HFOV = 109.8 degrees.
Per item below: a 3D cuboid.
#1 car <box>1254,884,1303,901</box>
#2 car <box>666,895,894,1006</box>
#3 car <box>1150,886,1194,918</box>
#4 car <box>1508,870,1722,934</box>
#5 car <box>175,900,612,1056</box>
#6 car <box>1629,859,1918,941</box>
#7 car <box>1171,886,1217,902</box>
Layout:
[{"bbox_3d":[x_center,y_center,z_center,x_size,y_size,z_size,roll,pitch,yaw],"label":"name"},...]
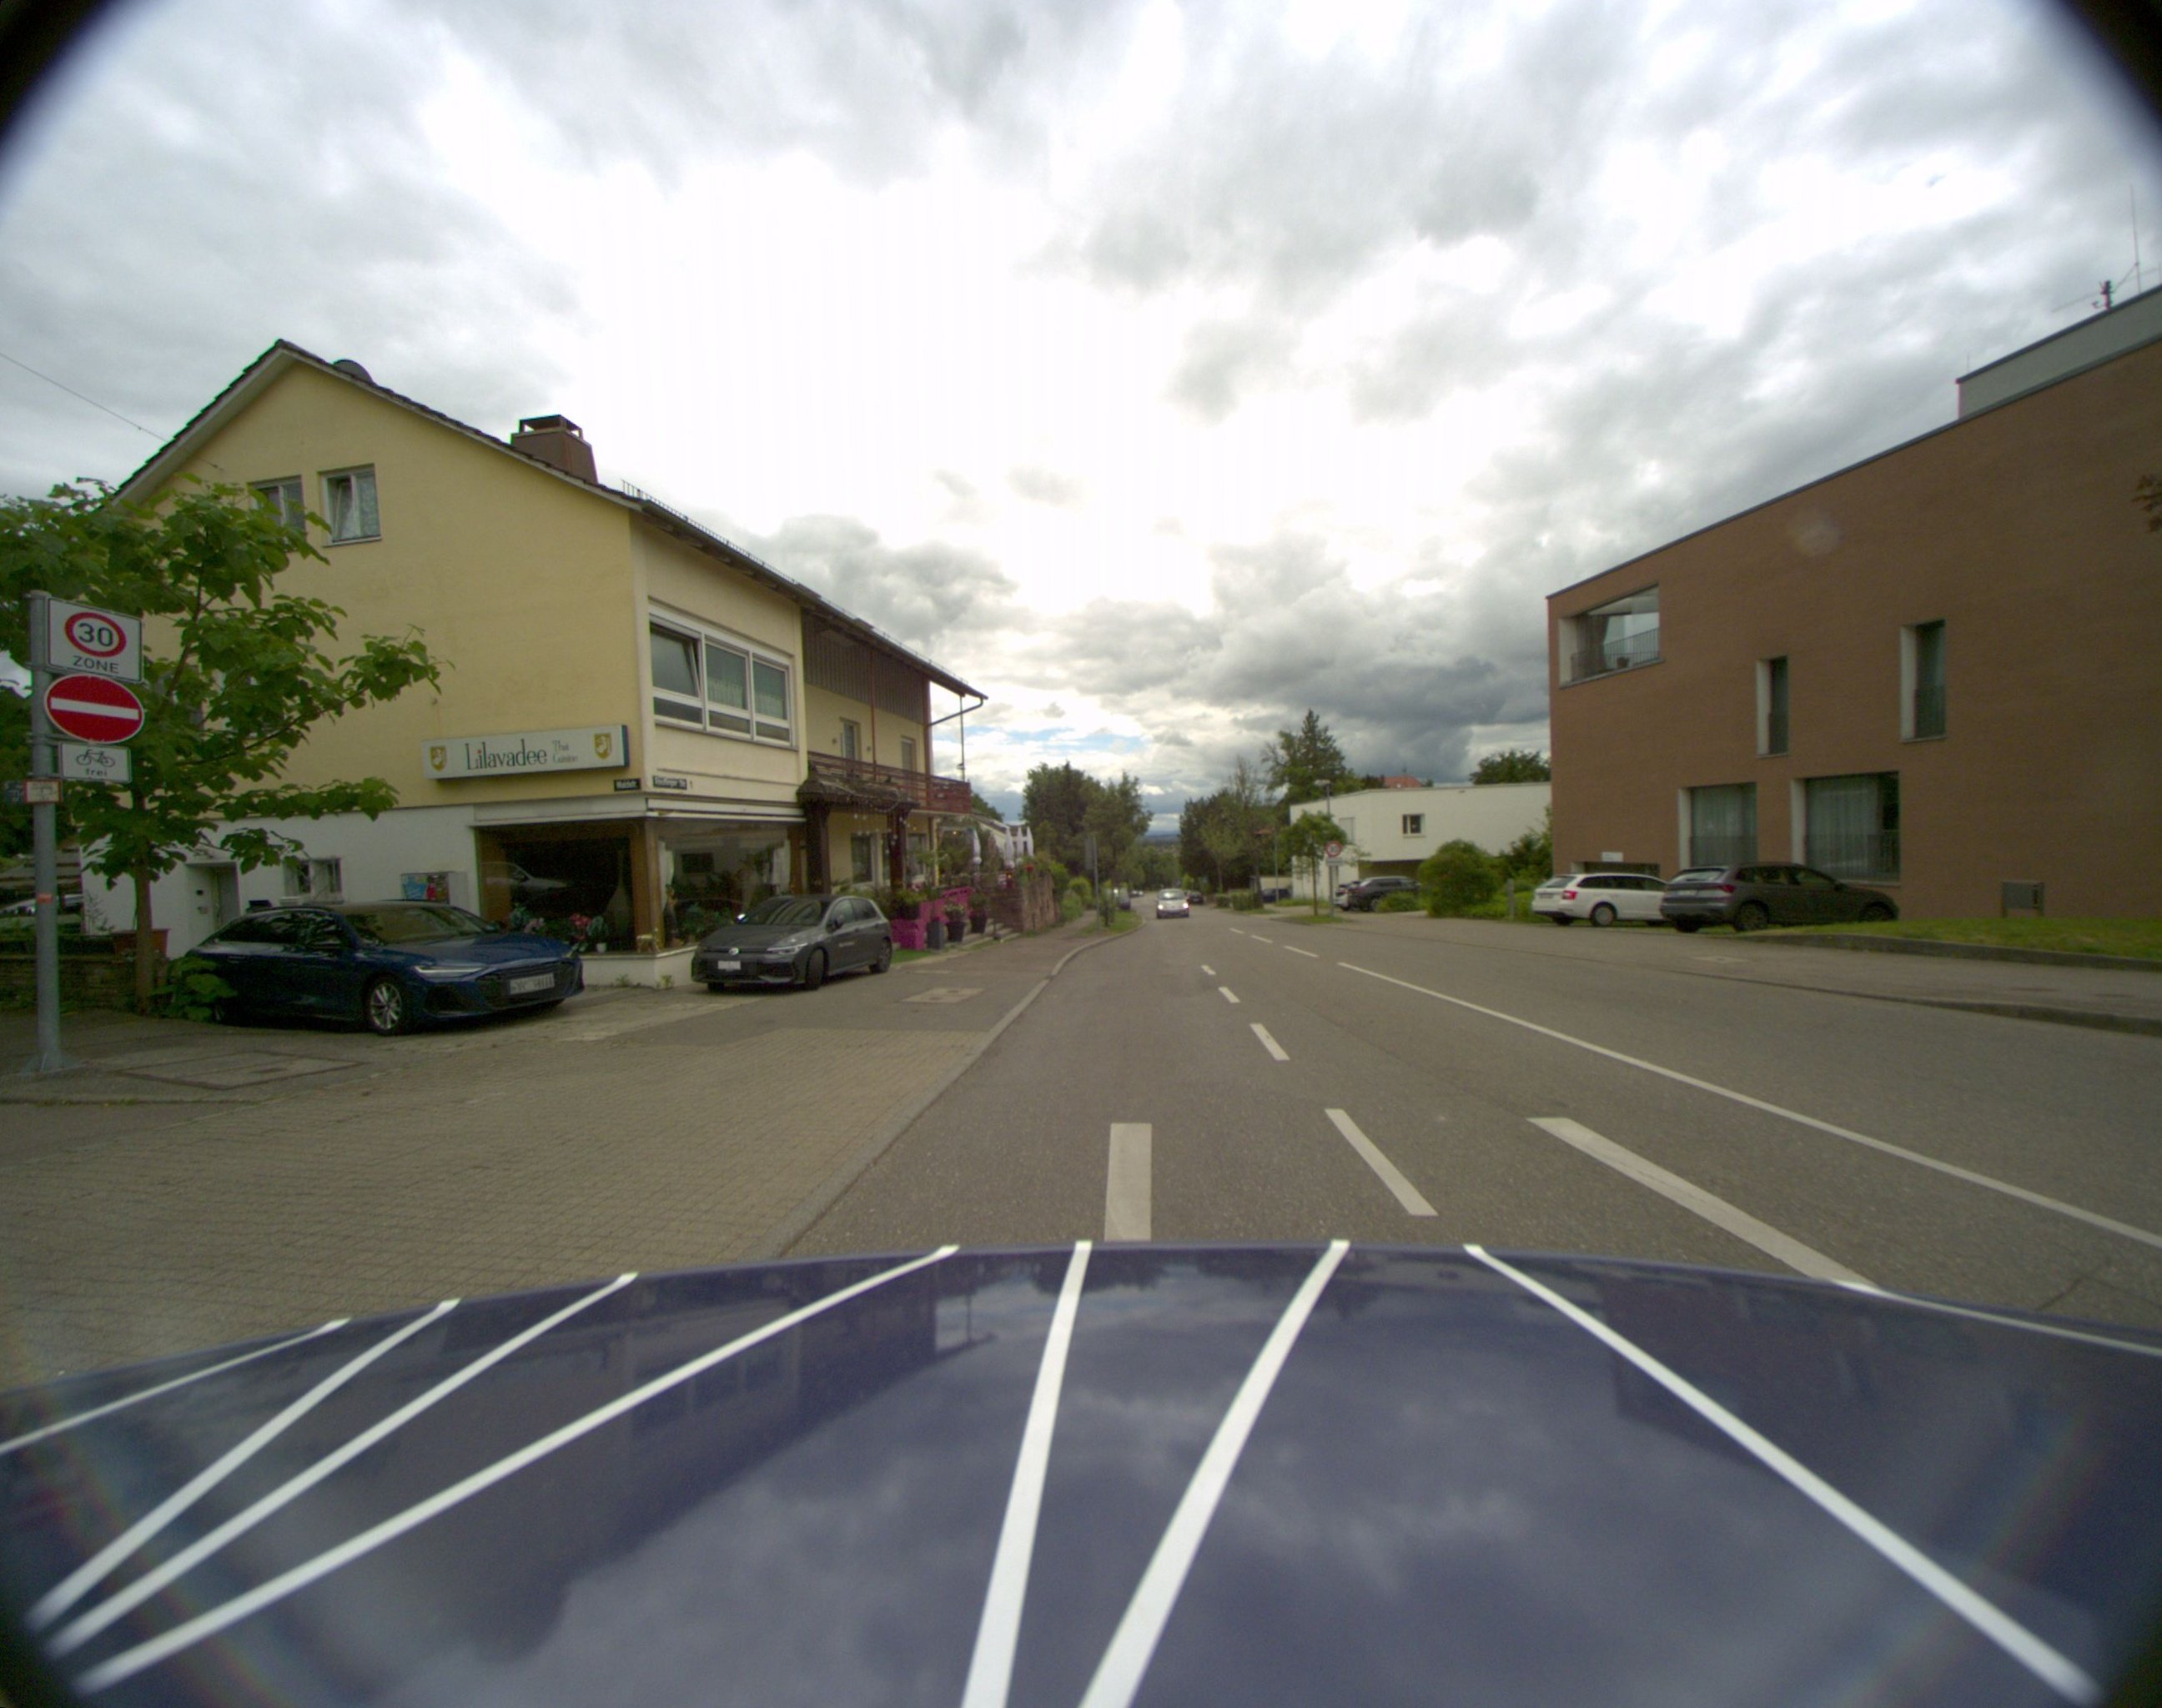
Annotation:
[{"bbox_3d":[19.961,3.894,76.948,4.434,1.548,2.000,-1,-1,-1],"label":"car"},{"bbox_3d":[-4.692,1.457,12.510,1.873,1.483,3.887,-2,-3,6],"label":"car"},{"bbox_3d":[5.004,2.671,42.221,1.998,1.585,4.003,-3,-3,2],"label":"car"},{"bbox_3d":[14.451,1.258,20.738,4.434,1.548,2.000,-1,-1,-1],"label":"car"},{"bbox_3d":[-8.192,1.367,9.171,4.220,1.519,1.935,-2,-2,16],"label":"car"},{"bbox_3d":[14.772,0.954,16.405,4.434,1.548,2.000,-1,-1,-1],"label":"car"},{"bbox_3d":[11.688,4.134,78.583,4.434,1.548,2.000,-2,-1,-1],"label":"car"}]
